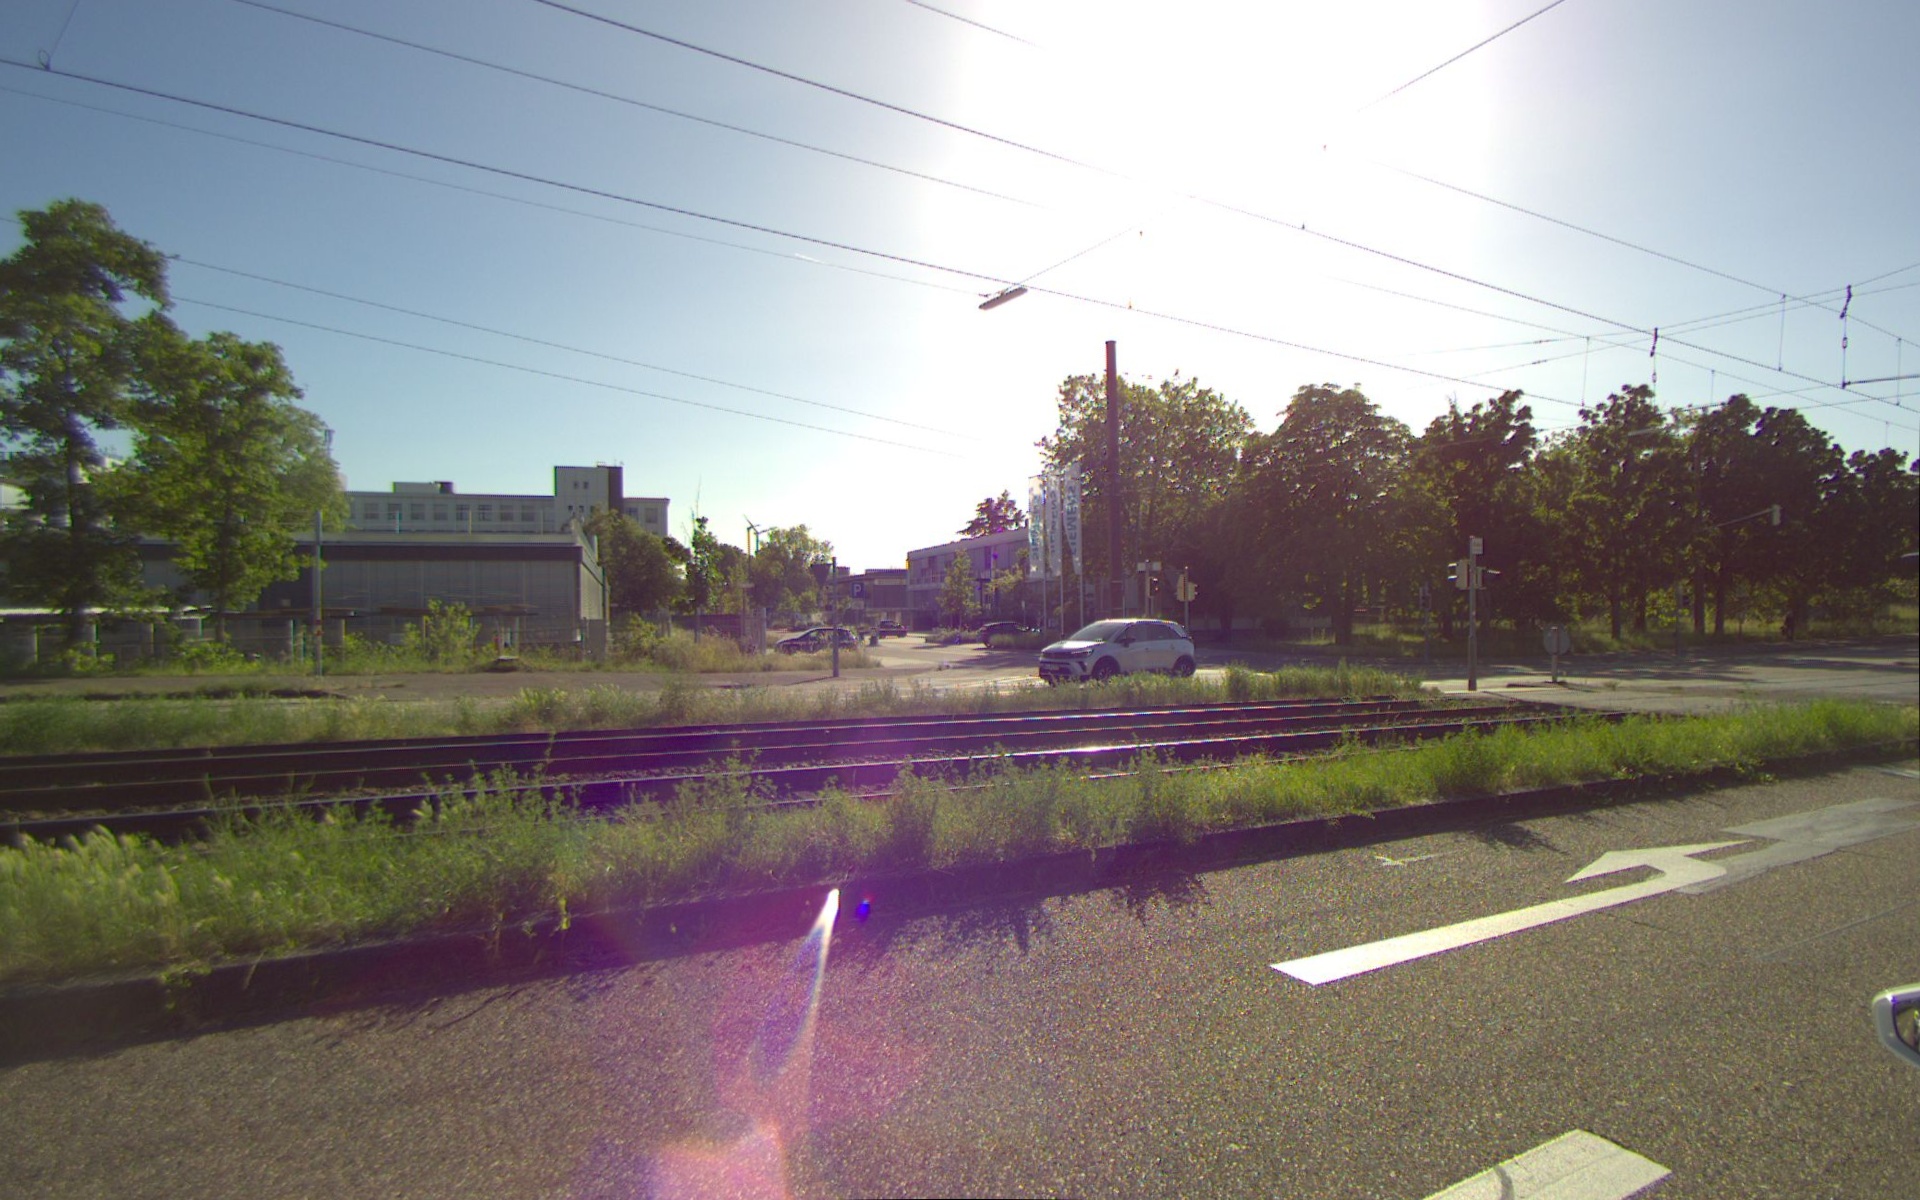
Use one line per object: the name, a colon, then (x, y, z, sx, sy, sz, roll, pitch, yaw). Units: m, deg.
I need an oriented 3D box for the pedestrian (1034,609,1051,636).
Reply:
pedestrian: (5.586, 1.551, 68.051, 0.807, 1.811, 0.950, 0, 0, -16)

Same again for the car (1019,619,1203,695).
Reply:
car: (3.540, 1.256, 23.273, 4.117, 1.578, 1.842, 1, 0, -36)

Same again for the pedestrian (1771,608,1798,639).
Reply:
pedestrian: (48.029, 1.370, 58.496, 0.919, 1.757, 0.761, 0, 0, -2)

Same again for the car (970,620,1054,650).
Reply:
car: (3.208, 2.143, 61.716, 4.768, 1.751, 2.041, 1, 0, -21)

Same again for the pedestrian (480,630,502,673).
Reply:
pedestrian: (-14.694, 1.612, 31.469, 0.432, 1.318, 0.441, 0, 0, 18)

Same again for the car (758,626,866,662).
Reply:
car: (-7.671, 2.263, 51.921, 5.210, 1.772, 2.164, 1, 0, -19)
